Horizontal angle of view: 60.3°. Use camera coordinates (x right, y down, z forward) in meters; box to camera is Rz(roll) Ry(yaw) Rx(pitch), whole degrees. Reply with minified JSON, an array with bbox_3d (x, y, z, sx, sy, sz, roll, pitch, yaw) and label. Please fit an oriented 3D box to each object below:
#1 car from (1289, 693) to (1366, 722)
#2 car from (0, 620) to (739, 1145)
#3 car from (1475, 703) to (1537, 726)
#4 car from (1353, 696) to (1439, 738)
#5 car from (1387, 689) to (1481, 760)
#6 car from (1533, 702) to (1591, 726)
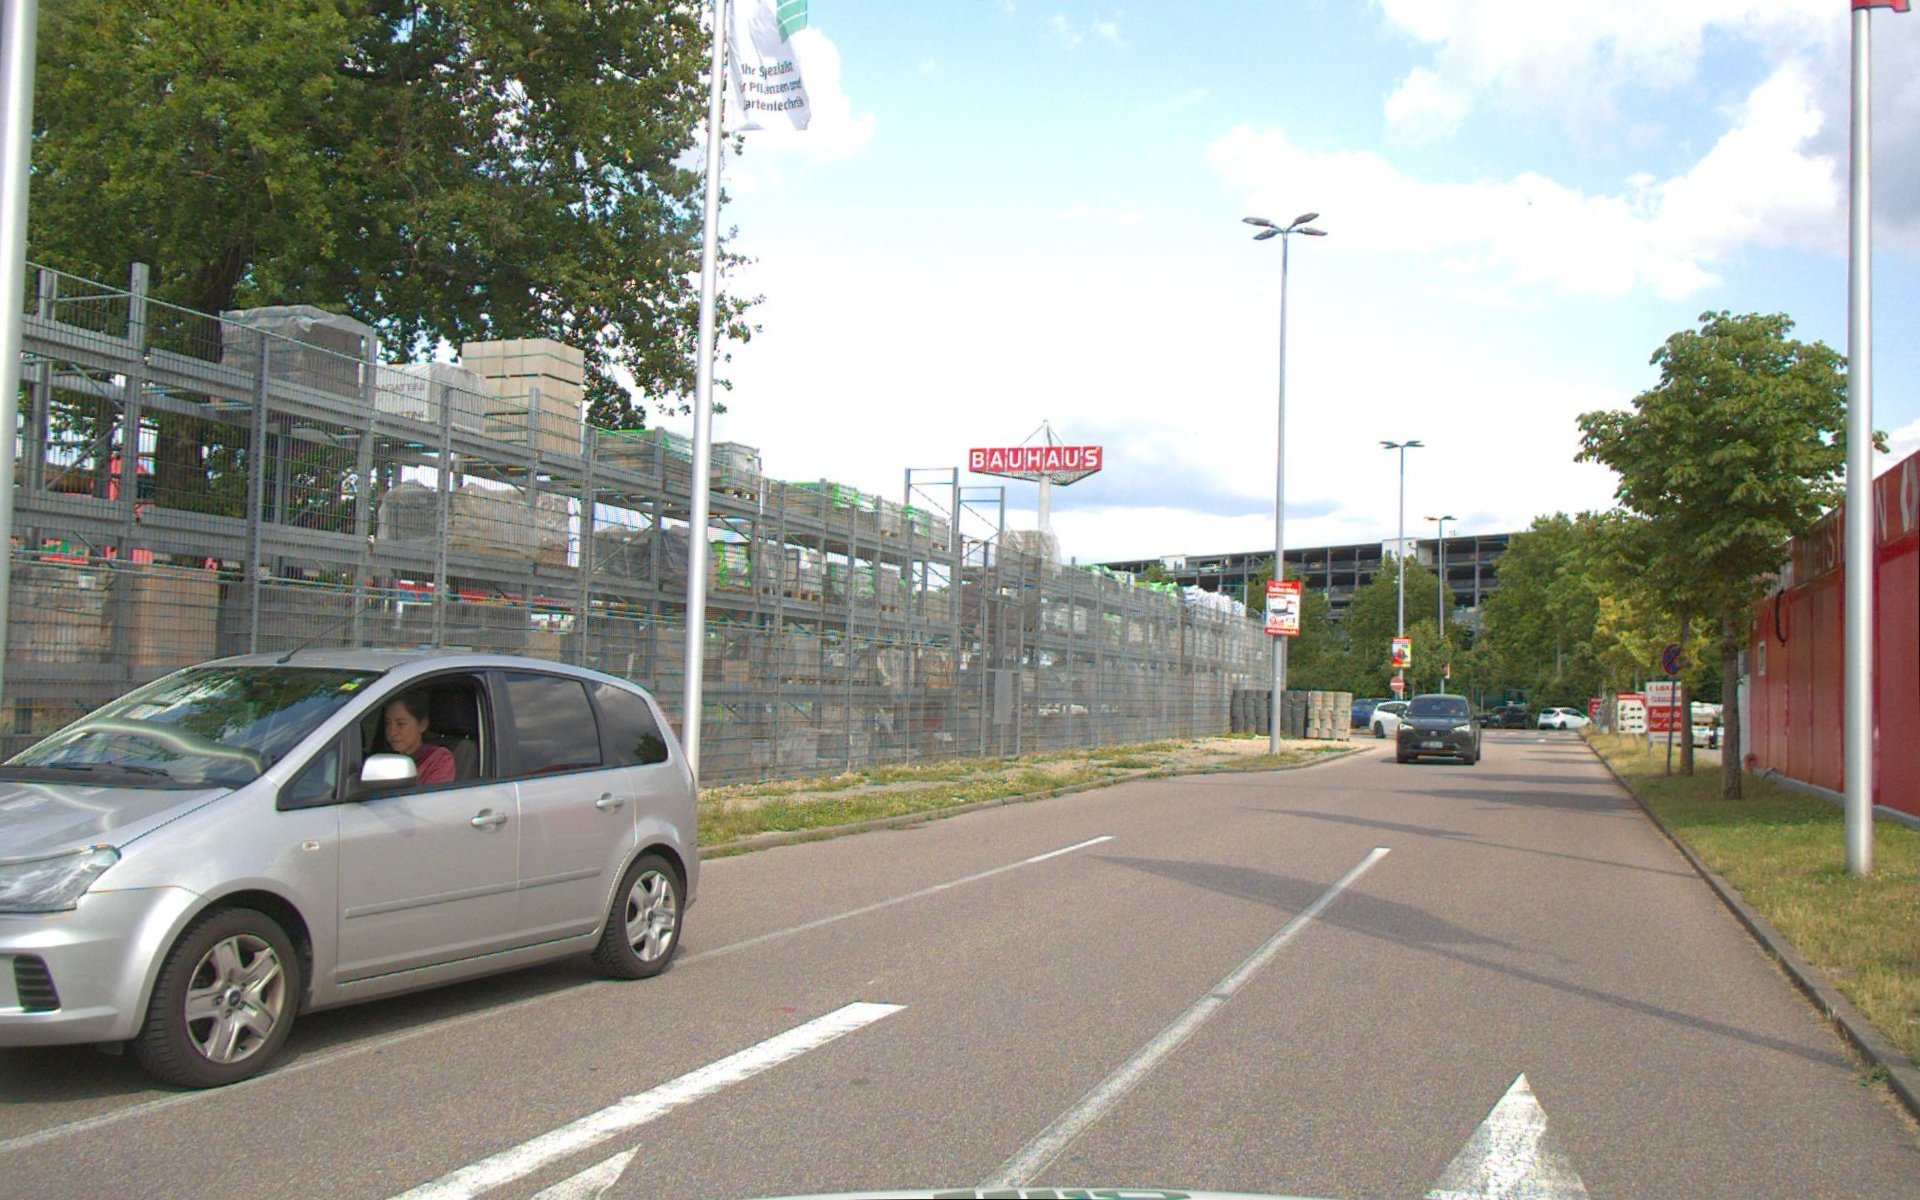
[{"bbox_3d":[18.840,5.492,84.671,3.673,1.392,1.621,0,-3,20],"label":"car"},{"bbox_3d":[-2.821,0.983,7.322,1.683,1.592,4.206,0,-3,24],"label":"car"},{"bbox_3d":[35.500,7.433,107.558,4.195,1.435,1.711,3,-4,-36],"label":"car"},{"bbox_3d":[16.723,4.487,63.528,2.840,1.542,1.525,-1,-4,40],"label":"car"},{"bbox_3d":[11.820,3.043,41.069,1.875,1.647,4.373,-1,-3,21],"label":"car"},{"bbox_3d":[37.803,7.151,103.866,3.510,1.437,1.652,3,-4,-31],"label":"car"}]
